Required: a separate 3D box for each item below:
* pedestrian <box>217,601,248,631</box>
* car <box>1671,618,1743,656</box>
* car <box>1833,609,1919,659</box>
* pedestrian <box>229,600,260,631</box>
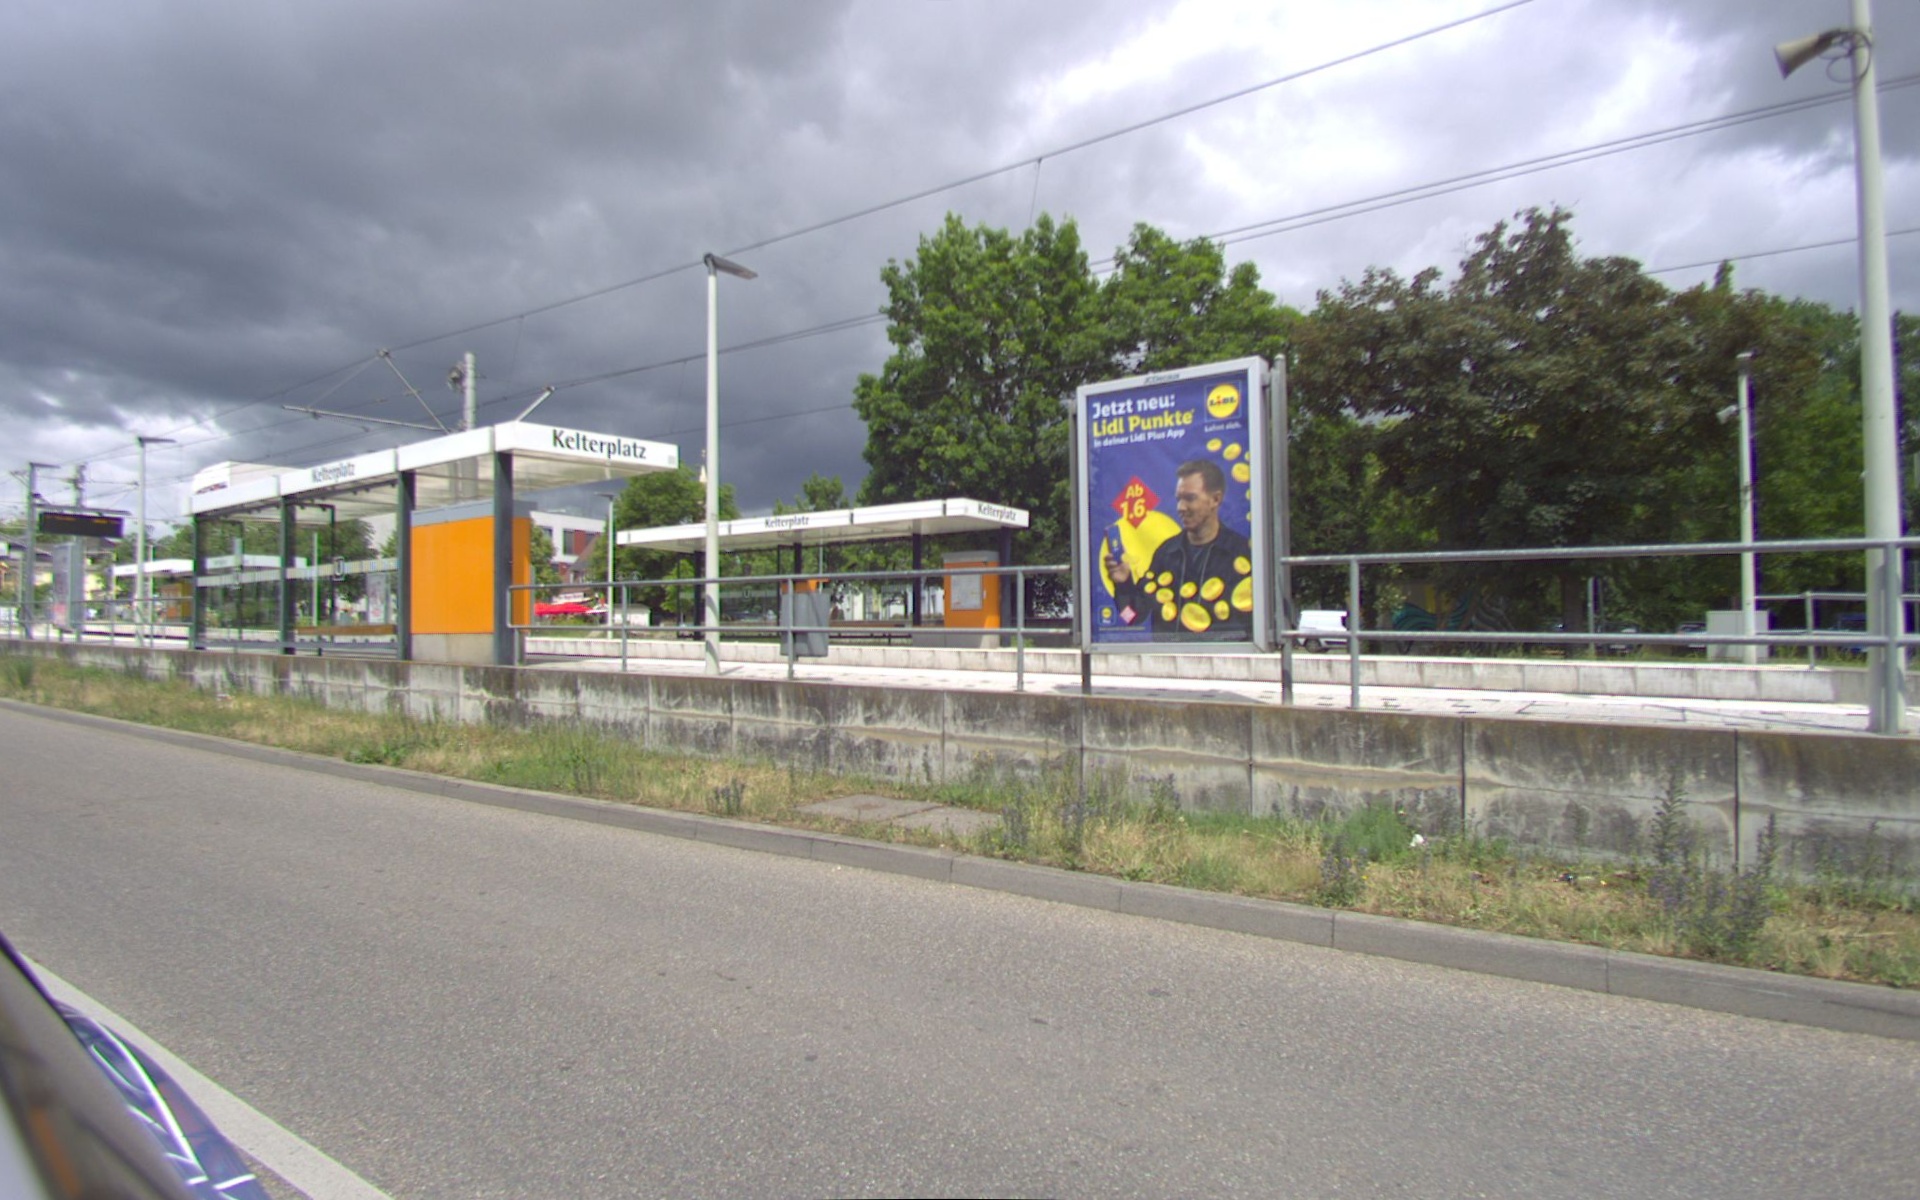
[{"bbox_3d":[-31.563,0.700,43.910,1.110,1.302,0.750,-1,-2,37],"label":"pedestrian"},{"bbox_3d":[30.524,1.501,41.465,1.962,1.503,3.792,-2,-2,31],"label":"car"},{"bbox_3d":[33.921,1.256,37.585,2.189,1.741,3.945,-3,-3,41],"label":"car"},{"bbox_3d":[-30.573,0.659,43.216,1.110,1.302,0.750,-1,-2,37],"label":"pedestrian"}]
